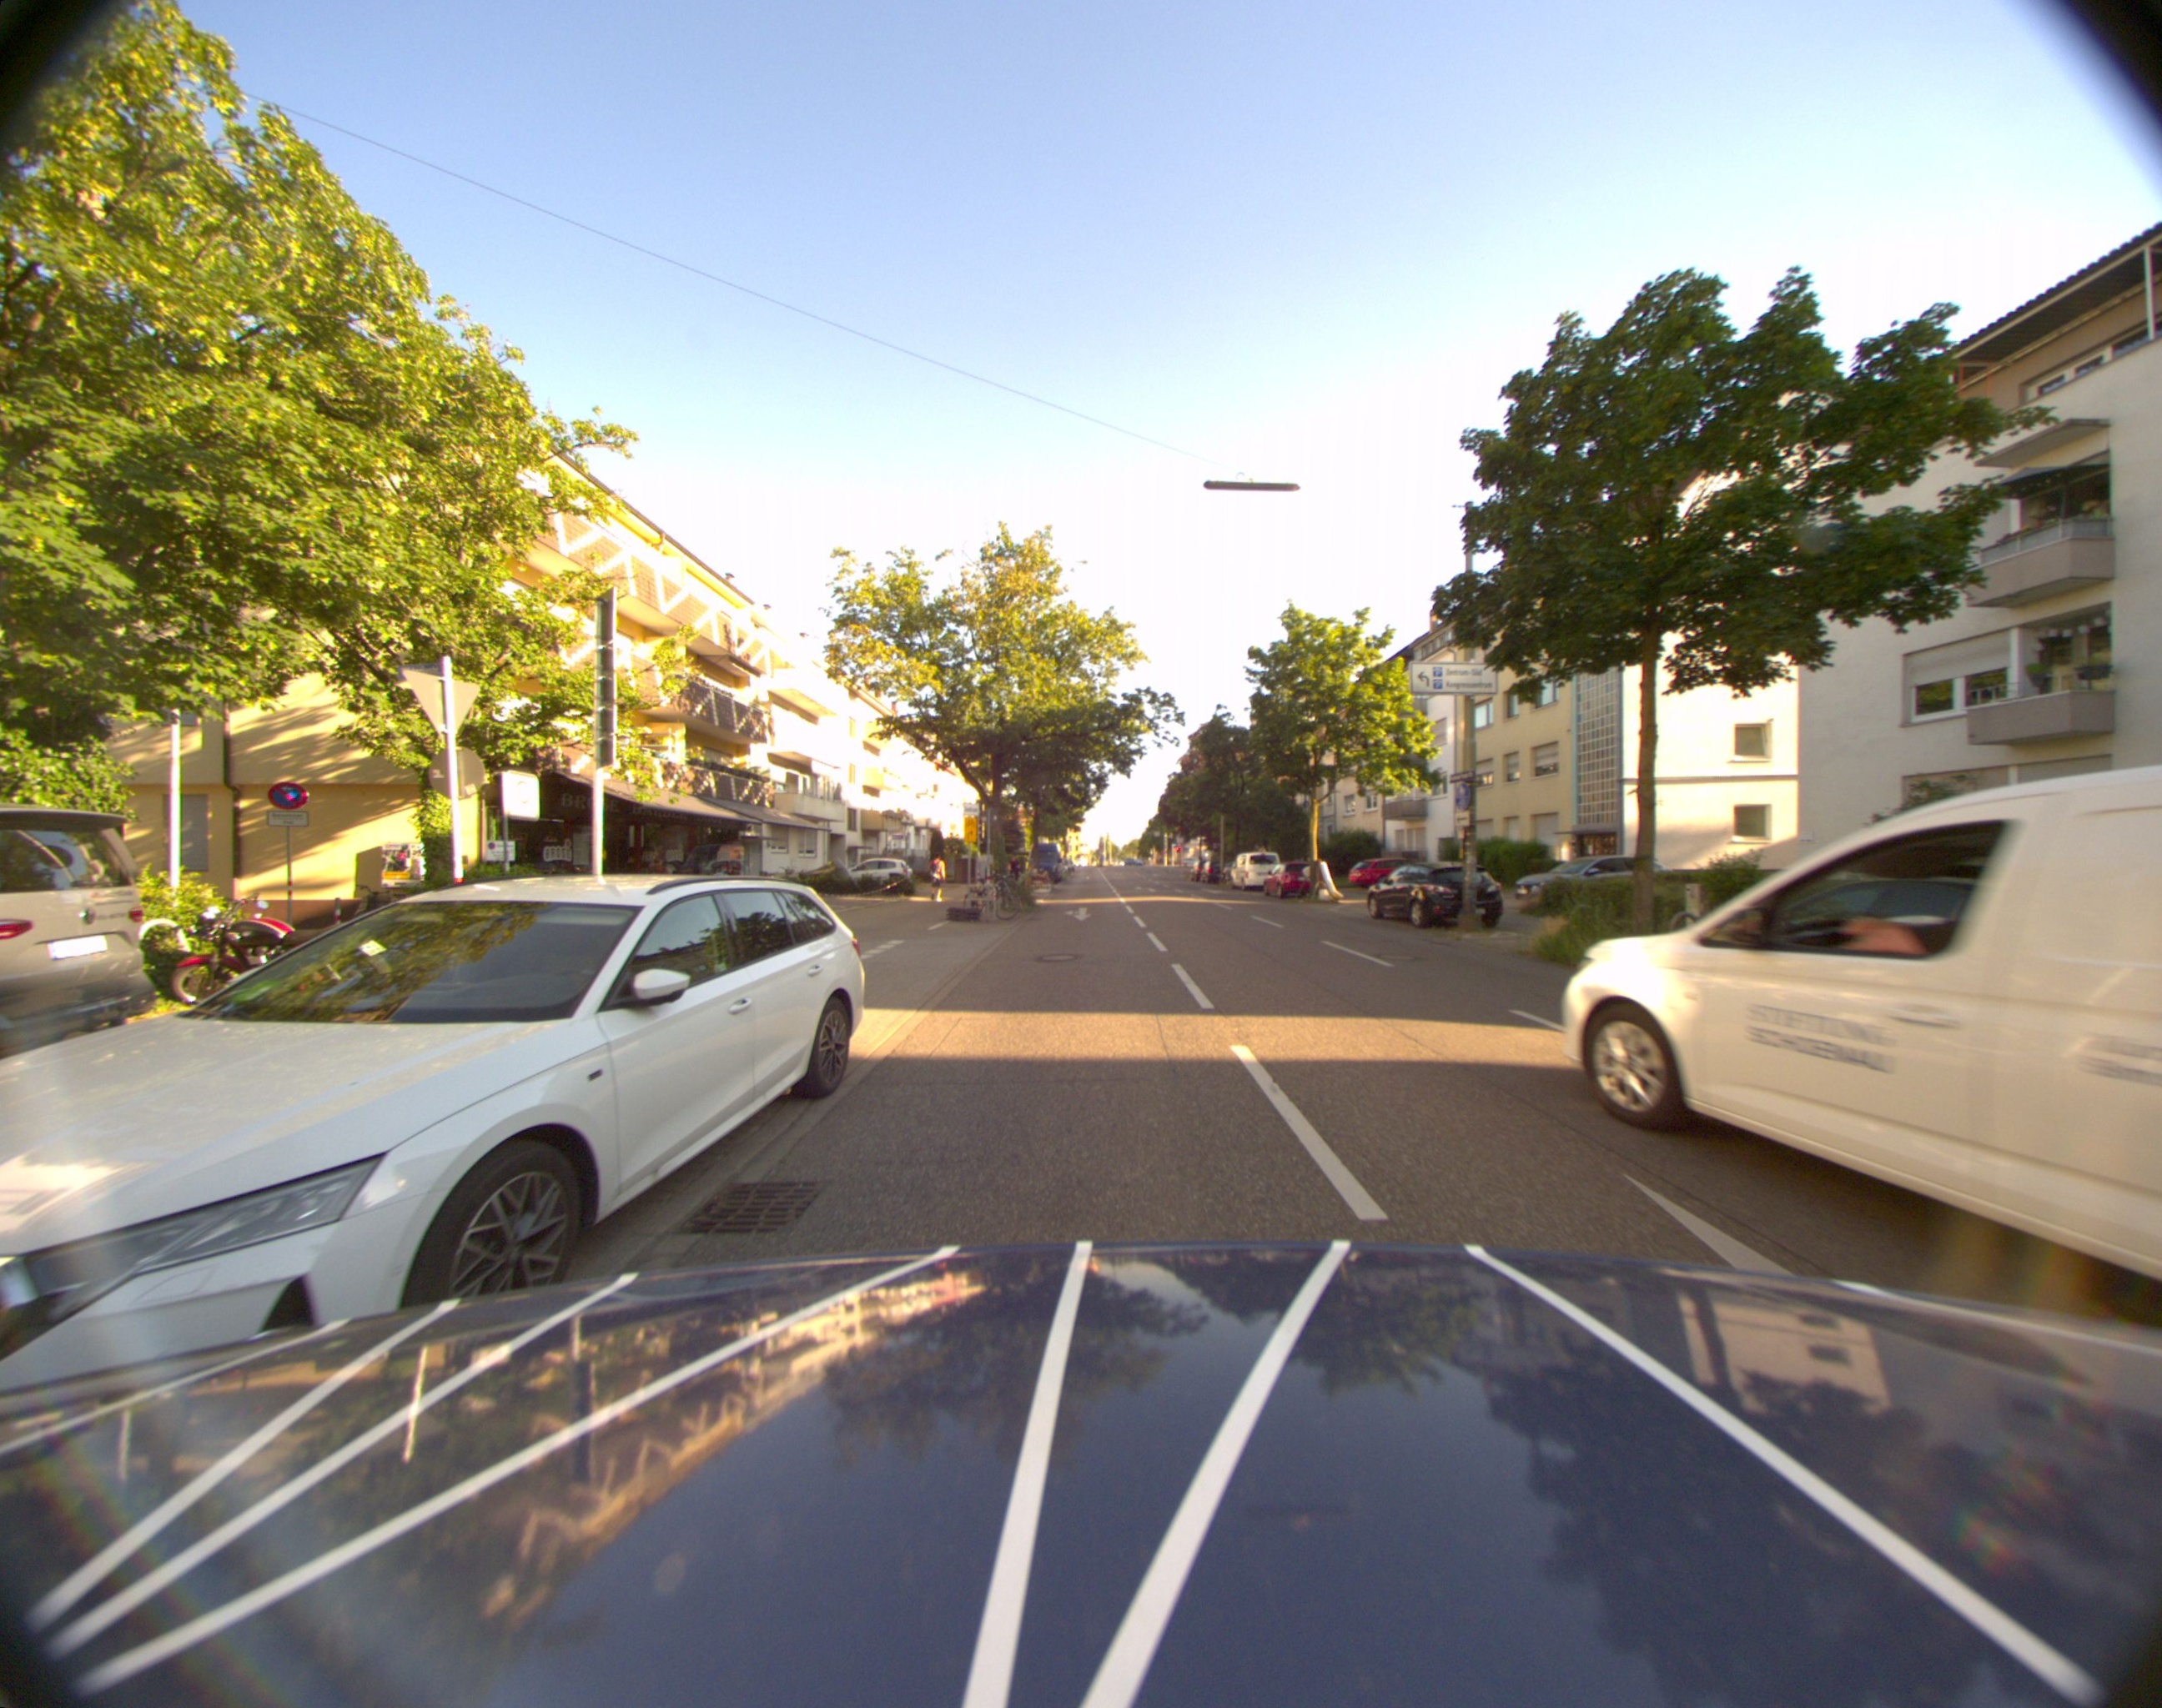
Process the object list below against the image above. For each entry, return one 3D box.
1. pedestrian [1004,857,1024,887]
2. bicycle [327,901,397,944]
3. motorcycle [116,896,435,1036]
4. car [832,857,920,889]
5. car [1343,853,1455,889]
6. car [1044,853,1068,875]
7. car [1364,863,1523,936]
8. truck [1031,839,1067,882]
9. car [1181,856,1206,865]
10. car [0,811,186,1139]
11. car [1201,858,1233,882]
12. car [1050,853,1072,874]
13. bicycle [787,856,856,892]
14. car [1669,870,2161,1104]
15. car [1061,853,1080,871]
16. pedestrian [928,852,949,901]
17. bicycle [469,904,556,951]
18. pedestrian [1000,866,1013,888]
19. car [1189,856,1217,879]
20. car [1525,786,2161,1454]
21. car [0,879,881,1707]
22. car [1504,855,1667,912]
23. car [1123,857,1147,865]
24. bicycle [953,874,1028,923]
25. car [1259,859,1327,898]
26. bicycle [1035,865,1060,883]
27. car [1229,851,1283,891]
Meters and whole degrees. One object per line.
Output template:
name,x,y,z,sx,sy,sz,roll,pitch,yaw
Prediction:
pedestrian,-3.274,0.869,37.094,0.917,1.435,0.811,-1,1,-1
bicycle,-13.635,1.292,14.436,0.428,0.739,0.913,-1,0,2
motorcycle,-8.058,1.087,7.713,2.163,1.232,0.789,-1,0,-9
car,-9.891,0.909,36.916,3.878,1.496,1.575,-1,0,-4
car,14.853,0.772,35.562,4.563,1.397,1.739,-3,1,-9
car,-1.961,0.780,61.032,1.704,1.739,4.000,-1,0,2
car,8.285,0.967,17.807,1.862,1.477,4.000,0,0,1
truck,-2.043,0.412,50.020,1.998,2.629,5.616,-1,0,1
car,19.897,1.209,134.302,3.988,1.576,2.004,-1,0,38
car,-8.827,0.721,3.990,4.946,1.888,1.916,-1,0,-28
car,8.617,0.973,48.397,1.407,1.397,3.683,-2,0,2
car,-1.712,0.811,65.931,1.704,1.739,4.000,0,0,2
bicycle,-10.481,0.795,30.777,2.459,1.433,0.928,-1,0,-1
car,7.803,0.905,6.822,1.641,1.399,4.444,-1,0,0
car,-1.057,0.819,76.532,1.704,1.739,4.000,-1,0,2
pedestrian,-5.165,0.812,27.519,0.619,1.761,0.562,-1,0,1
bicycle,-10.945,1.403,14.695,0.486,0.763,1.531,-1,0,2
pedestrian,-3.753,1.154,38.389,0.553,1.053,0.532,-1,1,2
car,8.443,0.896,52.600,1.407,1.456,3.683,-2,0,2
car,3.851,0.732,2.676,1.893,1.793,4.430,1,0,-1
car,-2.512,0.936,3.585,1.825,1.469,4.621,-1,0,1
car,14.095,0.799,21.376,3.467,1.515,1.686,-1,0,2
car,9.965,1.306,139.604,3.989,1.516,1.863,0,0,30
bicycle,-2.367,1.141,19.821,1.894,1.155,0.616,1,1,28
car,8.405,0.933,30.364,1.740,1.455,3.636,-1,0,1
bicycle,-2.035,1.213,46.490,1.469,1.058,0.445,-1,1,1
car,8.509,0.787,37.307,1.740,1.799,4.192,-1,0,1
